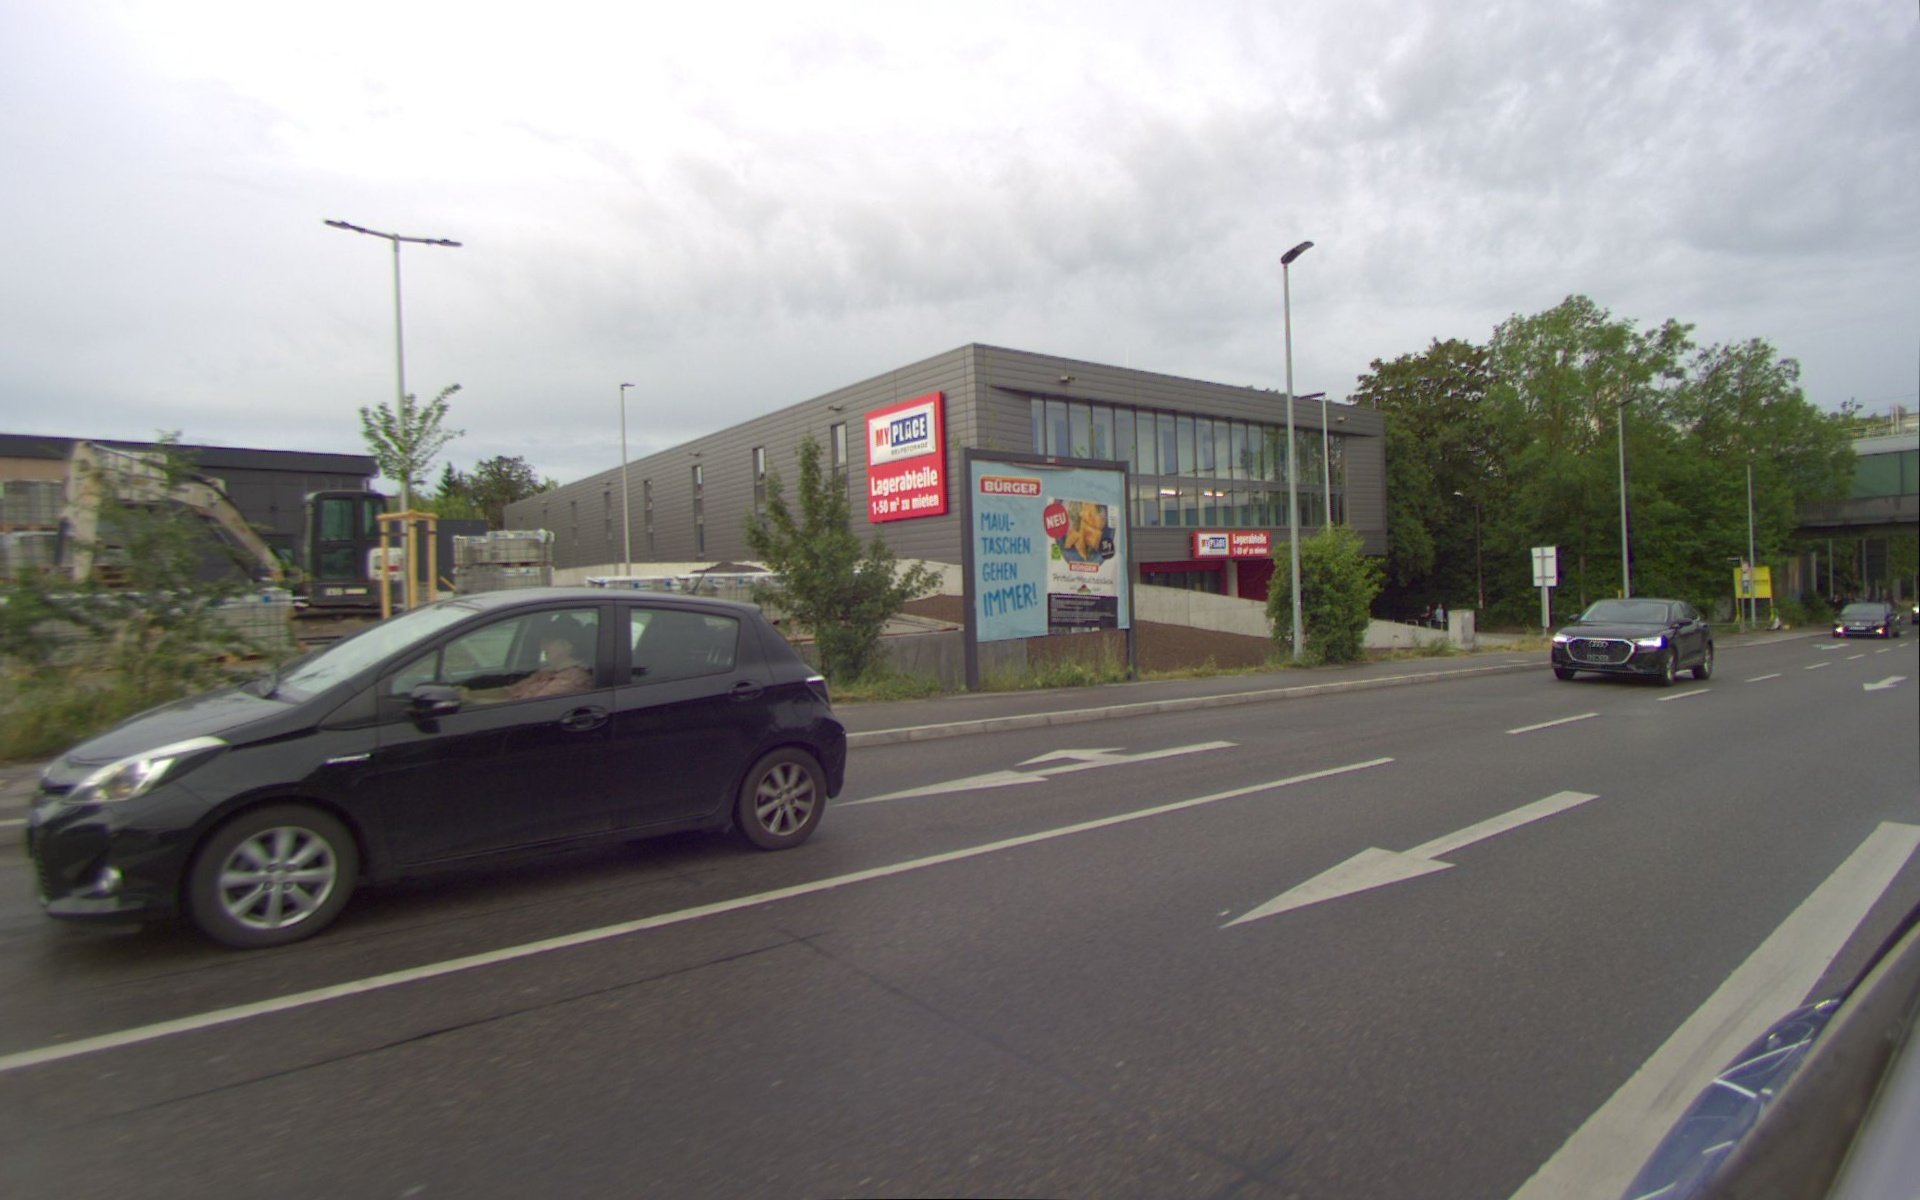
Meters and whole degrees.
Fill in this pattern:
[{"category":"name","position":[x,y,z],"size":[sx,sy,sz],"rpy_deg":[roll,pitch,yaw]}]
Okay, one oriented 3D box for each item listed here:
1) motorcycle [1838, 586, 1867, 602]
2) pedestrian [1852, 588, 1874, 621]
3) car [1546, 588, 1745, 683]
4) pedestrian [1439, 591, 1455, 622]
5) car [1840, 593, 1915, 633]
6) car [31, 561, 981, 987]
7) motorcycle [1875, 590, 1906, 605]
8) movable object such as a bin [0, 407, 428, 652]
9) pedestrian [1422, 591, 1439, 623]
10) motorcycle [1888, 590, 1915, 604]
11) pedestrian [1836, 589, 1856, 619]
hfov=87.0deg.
[{"category":"motorcycle","position":[82.766,-0.532,93.895],"size":[1.928,1.382,0.498],"rpy_deg":[-3,-1,45]},{"category":"pedestrian","position":[47.968,0.226,53.760],"size":[0.874,1.743,0.613],"rpy_deg":[-1,0,-31]},{"category":"car","position":[13.160,0.578,19.274],"size":[5.511,1.564,1.818],"rpy_deg":[0,1,-41]},{"category":"pedestrian","position":[28.523,0.386,59.239],"size":[0.588,1.839,0.587],"rpy_deg":[-1,-1,-13]},{"category":"car","position":[37.699,0.520,41.559],"size":[4.440,1.448,1.747],"rpy_deg":[-2,0,-41]},{"category":"car","position":[-2.160,0.583,5.794],"size":[4.561,1.488,1.747],"rpy_deg":[-2,0,-41]},{"category":"motorcycle","position":[77.242,-0.210,84.035],"size":[1.841,1.206,0.515],"rpy_deg":[0,0,35]},{"category":"movable object such as a bin","position":[-11.935,-0.934,16.491],"size":[2.299,3.318,5.343],"rpy_deg":[-1,-1,41]},{"category":"pedestrian","position":[27.459,0.408,59.076],"size":[0.612,1.839,0.587],"rpy_deg":[-1,-1,-13]},{"category":"motorcycle","position":[84.421,-0.261,90.746],"size":[0.484,1.165,1.659],"rpy_deg":[-2,-1,-32]},{"category":"pedestrian","position":[47.550,0.223,54.340],"size":[0.567,1.616,0.653],"rpy_deg":[-1,0,-29]}]
